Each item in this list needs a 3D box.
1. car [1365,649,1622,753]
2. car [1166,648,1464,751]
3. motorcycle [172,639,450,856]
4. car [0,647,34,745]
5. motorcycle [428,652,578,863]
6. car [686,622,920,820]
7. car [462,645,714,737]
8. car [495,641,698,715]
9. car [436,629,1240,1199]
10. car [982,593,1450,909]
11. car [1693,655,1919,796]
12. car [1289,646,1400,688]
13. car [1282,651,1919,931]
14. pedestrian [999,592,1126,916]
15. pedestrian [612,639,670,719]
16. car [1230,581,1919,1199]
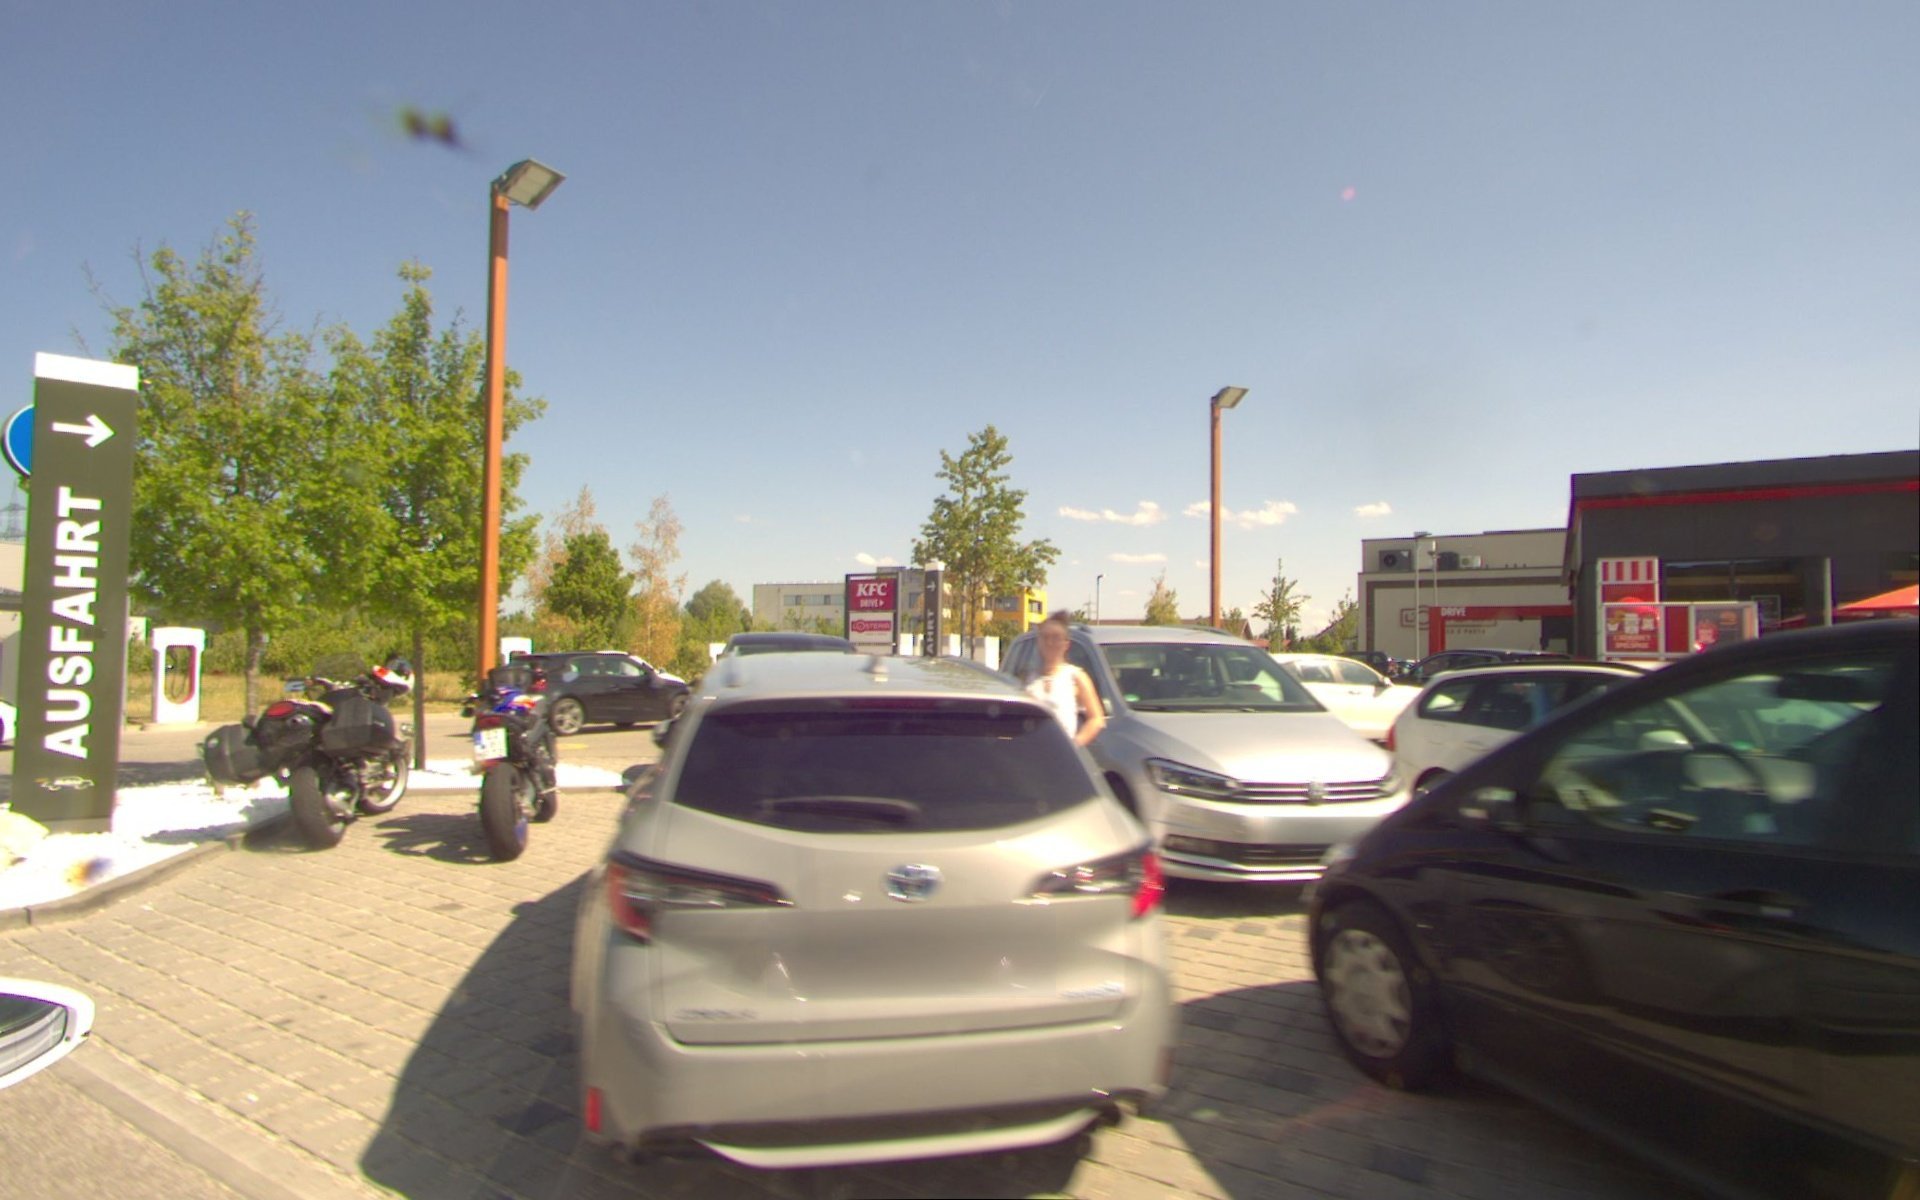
[{"bbox_3d":[9.139,1.696,17.590,1.725,1.595,4.085,1,-3,-13],"label":"car"},{"bbox_3d":[5.483,1.503,15.553,4.114,1.443,1.841,2,-3,-18],"label":"car"},{"bbox_3d":[-4.509,0.951,7.227,1.052,1.266,2.248,3,-2,-17],"label":"motorcycle"},{"bbox_3d":[-15.456,1.284,13.198,1.796,1.394,4.430,-1,-4,31],"label":"car"},{"bbox_3d":[-3.219,1.029,7.246,0.807,1.247,2.136,2,-2,-21],"label":"motorcycle"},{"bbox_3d":[-1.777,1.063,10.152,1.862,1.556,4.187,2,-3,-15],"label":"car"},{"bbox_3d":[-6.544,1.597,18.116,1.673,1.458,4.199,-2,-4,29],"label":"car"},{"bbox_3d":[-8.744,1.865,24.498,1.843,1.620,4.469,-1,-4,32],"label":"car"},{"bbox_3d":[-0.646,0.913,4.562,1.801,1.465,4.661,1,-3,-11],"label":"car"},{"bbox_3d":[1.497,0.912,7.459,1.716,1.660,4.065,1,-3,-13],"label":"car"},{"bbox_3d":[11.454,1.448,12.219,4.396,1.489,1.911,2,-3,-19],"label":"car"},{"bbox_3d":[16.556,2.876,43.173,4.317,1.706,1.636,-1,-3,29],"label":"car"},{"bbox_3d":[4.294,1.115,7.404,1.761,1.425,4.079,2,-3,-14],"label":"car"},{"bbox_3d":[0.573,0.846,5.708,0.599,1.734,0.564,1,-2,-6],"label":"pedestrian"},{"bbox_3d":[-7.545,1.853,23.703,1.020,1.823,0.734,1,-2,29],"label":"pedestrian"},{"bbox_3d":[2.532,0.825,2.642,1.779,1.613,3.997,2,-3,-14],"label":"car"}]
